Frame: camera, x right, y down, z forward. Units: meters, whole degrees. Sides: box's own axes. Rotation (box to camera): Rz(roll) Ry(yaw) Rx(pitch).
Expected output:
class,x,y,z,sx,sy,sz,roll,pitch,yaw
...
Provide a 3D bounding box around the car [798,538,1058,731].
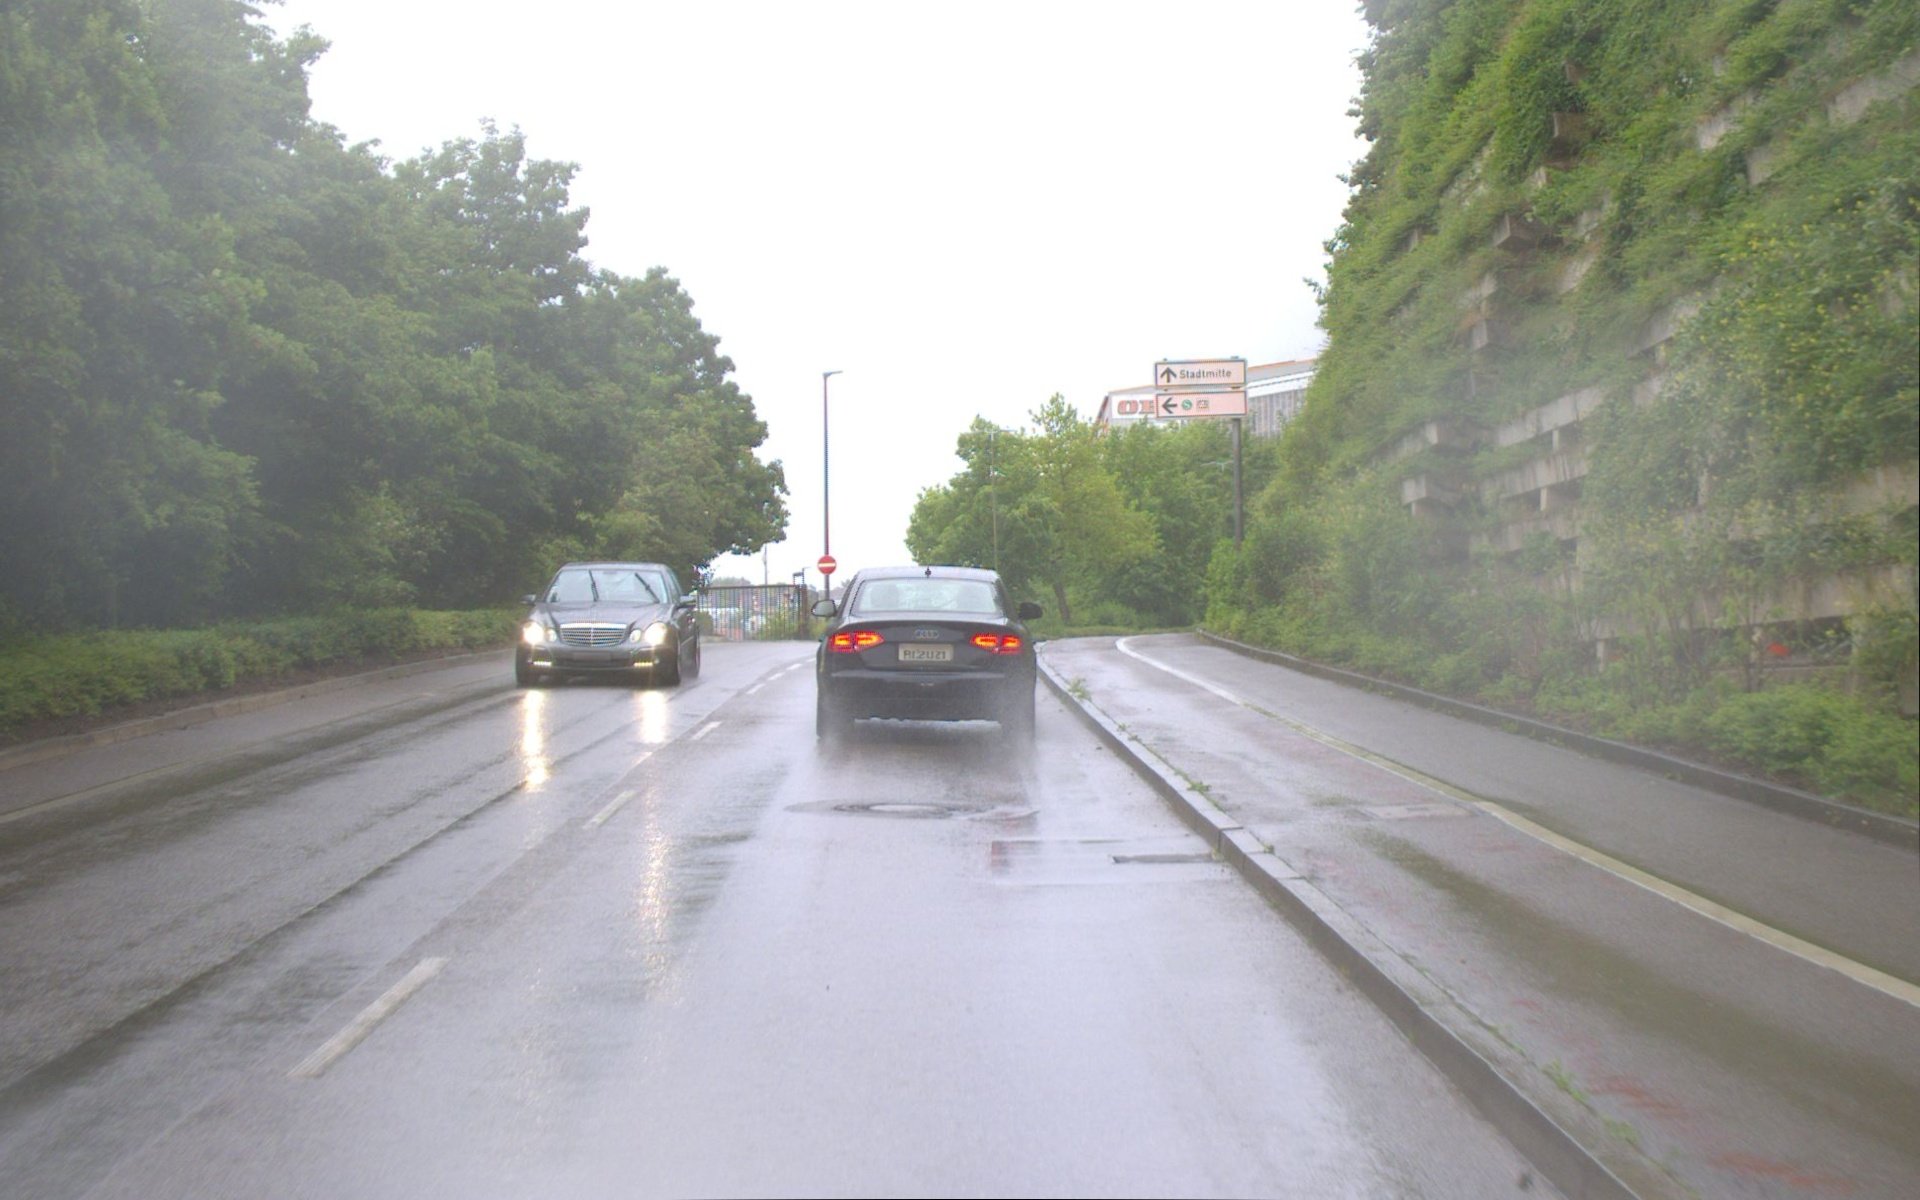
class,x,y,z,sx,sy,sz,roll,pitch,yaw
car,-0.190,0.230,28.688,1.893,1.487,4.207,0,1,3

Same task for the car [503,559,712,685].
class,x,y,z,sx,sy,sz,roll,pitch,yaw
car,-4.050,0.215,40.127,1.993,1.359,4.251,1,1,0
